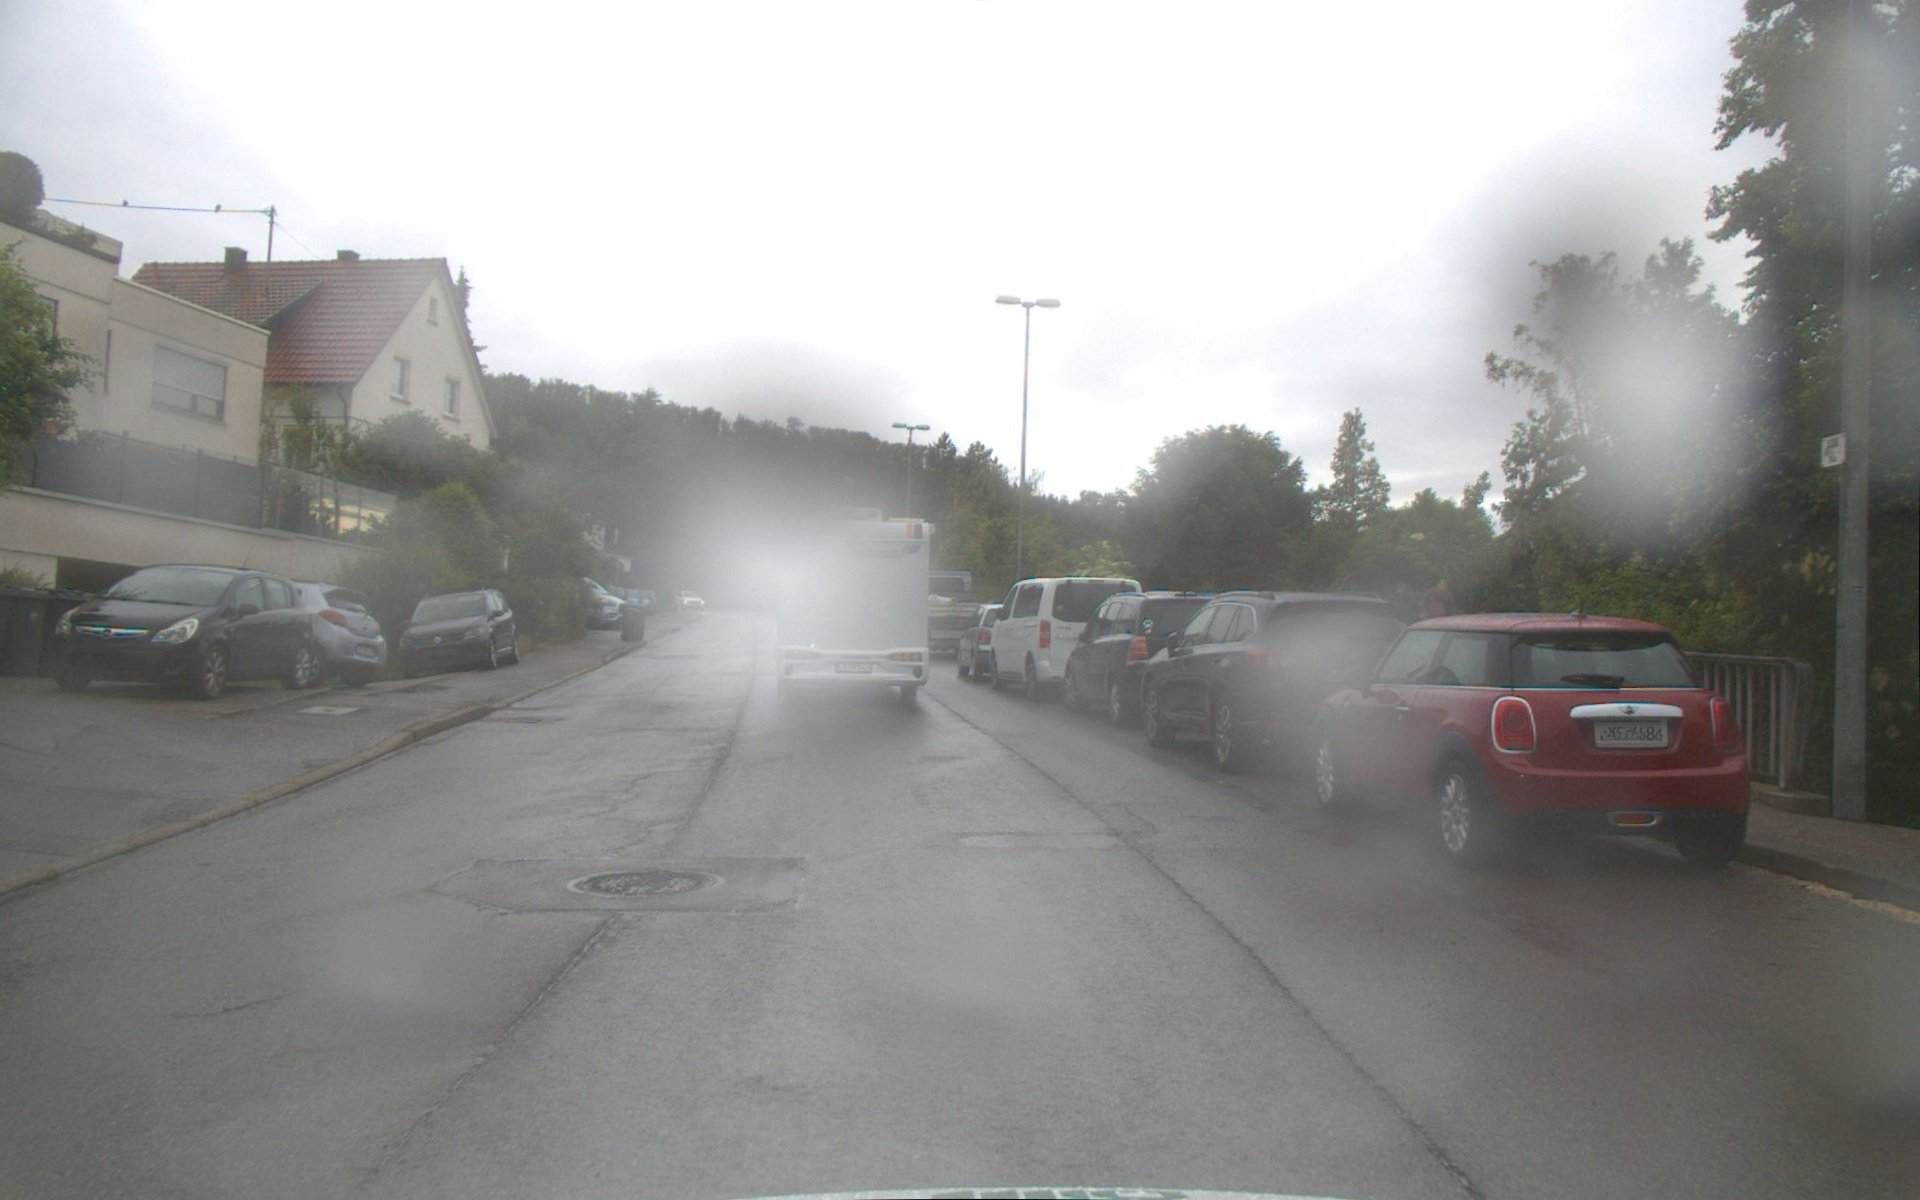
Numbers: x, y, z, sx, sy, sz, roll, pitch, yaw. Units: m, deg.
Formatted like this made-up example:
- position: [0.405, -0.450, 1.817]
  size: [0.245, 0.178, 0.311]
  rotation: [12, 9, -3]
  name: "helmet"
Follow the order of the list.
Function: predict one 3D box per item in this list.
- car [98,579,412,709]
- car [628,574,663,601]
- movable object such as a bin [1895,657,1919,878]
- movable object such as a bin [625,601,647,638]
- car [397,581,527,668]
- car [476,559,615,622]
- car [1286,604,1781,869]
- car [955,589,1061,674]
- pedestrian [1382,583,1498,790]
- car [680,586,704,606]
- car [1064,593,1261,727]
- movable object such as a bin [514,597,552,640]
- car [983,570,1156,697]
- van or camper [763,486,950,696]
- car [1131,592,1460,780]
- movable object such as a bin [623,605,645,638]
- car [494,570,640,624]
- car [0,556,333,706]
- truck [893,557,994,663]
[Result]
- position: [-10.268, 0.634, 24.236]
  size: [3.746, 1.503, 1.805]
  rotation: [-5, -1, 7]
  name: "car"
- position: [-18.598, -0.751, 97.898]
  size: [1.602, 1.420, 4.232]
  rotation: [5, -1, -7]
  name: "car"
- position: [5.218, 0.857, 8.169]
  size: [0.699, 1.113, 0.848]
  rotation: [1, 0, -2]
  name: "movable object such as a bin"
- position: [-9.735, 0.580, 49.708]
  size: [0.592, 1.082, 0.636]
  rotation: [3, 0, -11]
  name: "movable object such as a bin"
- position: [-9.929, 0.471, 33.283]
  size: [1.769, 1.625, 4.410]
  rotation: [1, 0, -7]
  name: "car"
- position: [-13.824, -0.304, 55.248]
  size: [3.970, 1.721, 1.895]
  rotation: [5, -1, 6]
  name: "car"
- position: [3.539, 0.762, 10.994]
  size: [1.701, 1.439, 3.848]
  rotation: [1, 0, -5]
  name: "car"
- position: [0.891, 0.610, 32.989]
  size: [1.616, 1.591, 3.958]
  rotation: [1, 0, -6]
  name: "car"
- position: [3.964, 0.703, 13.696]
  size: [0.703, 1.664, 0.706]
  rotation: [1, 0, -6]
  name: "pedestrian"
- position: [-22.963, -0.333, 141.818]
  size: [1.871, 1.636, 4.419]
  rotation: [2, 0, -9]
  name: "car"
- position: [2.518, 0.722, 21.587]
  size: [1.613, 1.568, 4.348]
  rotation: [1, 0, -6]
  name: "car"
- position: [-10.985, 0.476, 42.597]
  size: [0.683, 1.102, 0.710]
  rotation: [1, 0, 12]
  name: "movable object such as a bin"
- position: [1.699, 0.526, 27.438]
  size: [1.815, 1.915, 4.900]
  rotation: [1, 0, -9]
  name: "car"
- position: [-1.809, -0.043, 26.769]
  size: [2.566, 2.903, 6.021]
  rotation: [3, -2, -6]
  name: "van or camper"
- position: [3.006, 0.721, 15.927]
  size: [1.781, 1.533, 4.718]
  rotation: [1, 0, -6]
  name: "car"
- position: [-9.623, 0.641, 48.799]
  size: [0.592, 0.944, 0.562]
  rotation: [3, 0, -12]
  name: "movable object such as a bin"
- position: [-14.986, -0.115, 63.213]
  size: [4.976, 1.978, 2.143]
  rotation: [1, 0, 9]
  name: "car"
- position: [-8.933, 0.334, 19.032]
  size: [1.730, 1.400, 4.247]
  rotation: [4, -1, 0]
  name: "car"
- position: [-0.547, 0.281, 45.652]
  size: [2.196, 2.678, 6.529]
  rotation: [1, 0, -6]
  name: "truck"
